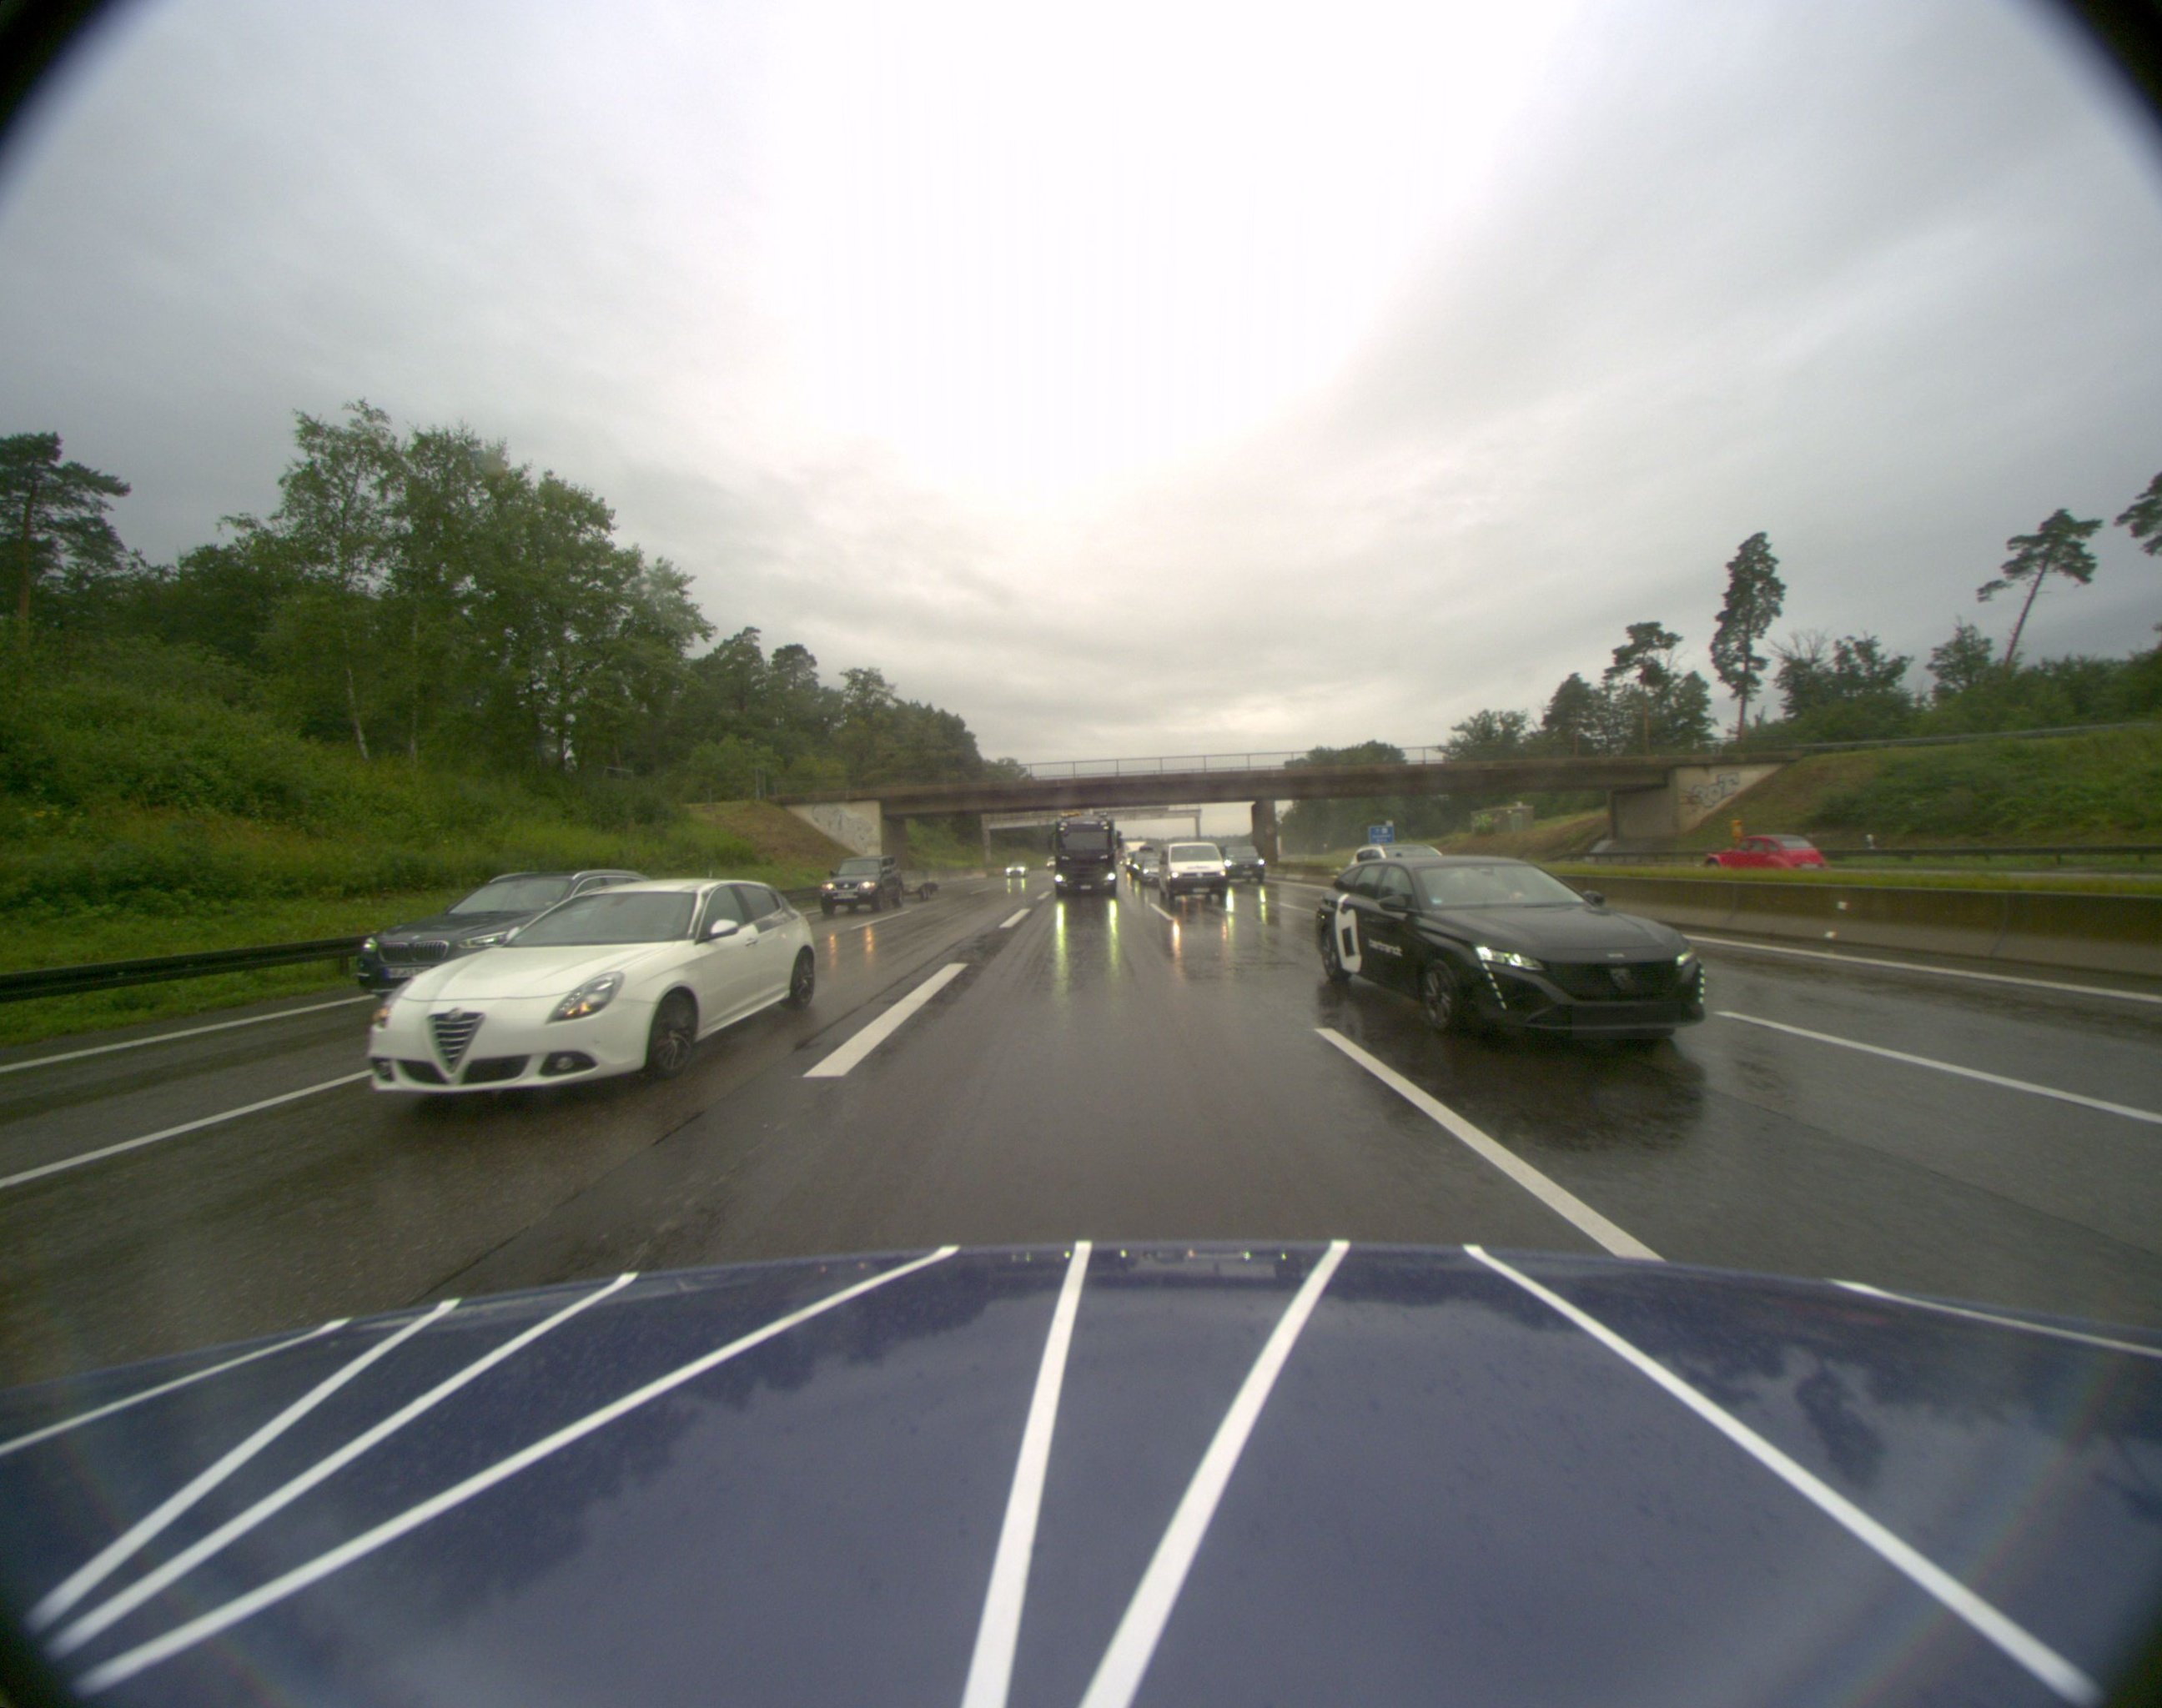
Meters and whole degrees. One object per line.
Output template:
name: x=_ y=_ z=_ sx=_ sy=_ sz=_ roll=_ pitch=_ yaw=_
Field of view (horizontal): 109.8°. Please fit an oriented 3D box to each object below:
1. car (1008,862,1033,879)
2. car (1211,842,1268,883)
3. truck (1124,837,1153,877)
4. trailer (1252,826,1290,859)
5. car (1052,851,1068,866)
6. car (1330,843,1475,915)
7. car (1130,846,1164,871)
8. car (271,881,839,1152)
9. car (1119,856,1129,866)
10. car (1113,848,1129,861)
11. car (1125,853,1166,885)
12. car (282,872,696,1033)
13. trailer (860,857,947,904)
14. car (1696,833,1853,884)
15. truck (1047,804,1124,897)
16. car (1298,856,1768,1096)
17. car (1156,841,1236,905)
car: x=-5.505 y=1.483 z=69.754 sx=1.795 sy=1.399 sz=4.228 roll=-2 pitch=0 yaw=1
car: x=8.240 y=0.384 z=40.009 sx=1.996 sy=1.933 sz=5.242 roll=-2 pitch=0 yaw=1
truck: x=5.993 y=0.266 z=80.337 sx=2.521 sy=3.941 sz=6.994 roll=-2 pitch=0 yaw=1
trailer: x=29.619 y=-1.772 z=119.113 sx=3.213 sy=4.785 sz=13.349 roll=-2 pitch=0 yaw=4
car: x=-3.001 y=0.625 z=108.130 sx=1.995 sy=1.910 sz=4.767 roll=-2 pitch=0 yaw=1
car: x=8.053 y=0.565 z=19.516 sx=1.850 sy=1.582 sz=4.466 roll=-2 pitch=0 yaw=1
car: x=4.556 y=0.285 z=53.049 sx=1.995 sy=1.551 sz=4.767 roll=-2 pitch=0 yaw=1
car: x=-3.912 y=1.071 z=6.856 sx=1.894 sy=1.417 sz=4.483 roll=-2 pitch=0 yaw=1
car: x=9.671 y=1.598 z=170.337 sx=1.999 sy=2.002 sz=3.999 roll=-2 pitch=0 yaw=-1
car: x=5.362 y=0.060 z=102.305 sx=1.995 sy=1.551 sz=4.767 roll=-2 pitch=0 yaw=1
car: x=3.423 y=0.752 z=40.755 sx=1.850 sy=1.496 sz=4.466 roll=-2 pitch=0 yaw=1
car: x=-7.746 y=1.149 z=10.776 sx=1.995 sy=1.574 sz=4.767 roll=-2 pitch=0 yaw=1
trailer: x=-7.285 y=1.024 z=31.755 sx=2.249 sy=1.704 sz=5.082 roll=-2 pitch=0 yaw=1
car: x=23.955 y=0.132 z=26.468 sx=1.850 sy=1.582 sz=3.944 roll=-2 pitch=0 yaw=1
truck: x=0.328 y=-0.200 z=35.077 sx=2.879 sy=3.528 sz=10.910 roll=-2 pitch=1 yaw=2
car: x=3.619 y=0.818 z=7.247 sx=1.850 sy=1.495 sz=4.466 roll=-2 pitch=0 yaw=1
car: x=3.772 y=0.581 z=25.787 sx=1.995 sy=1.869 sz=4.767 roll=-2 pitch=0 yaw=1
